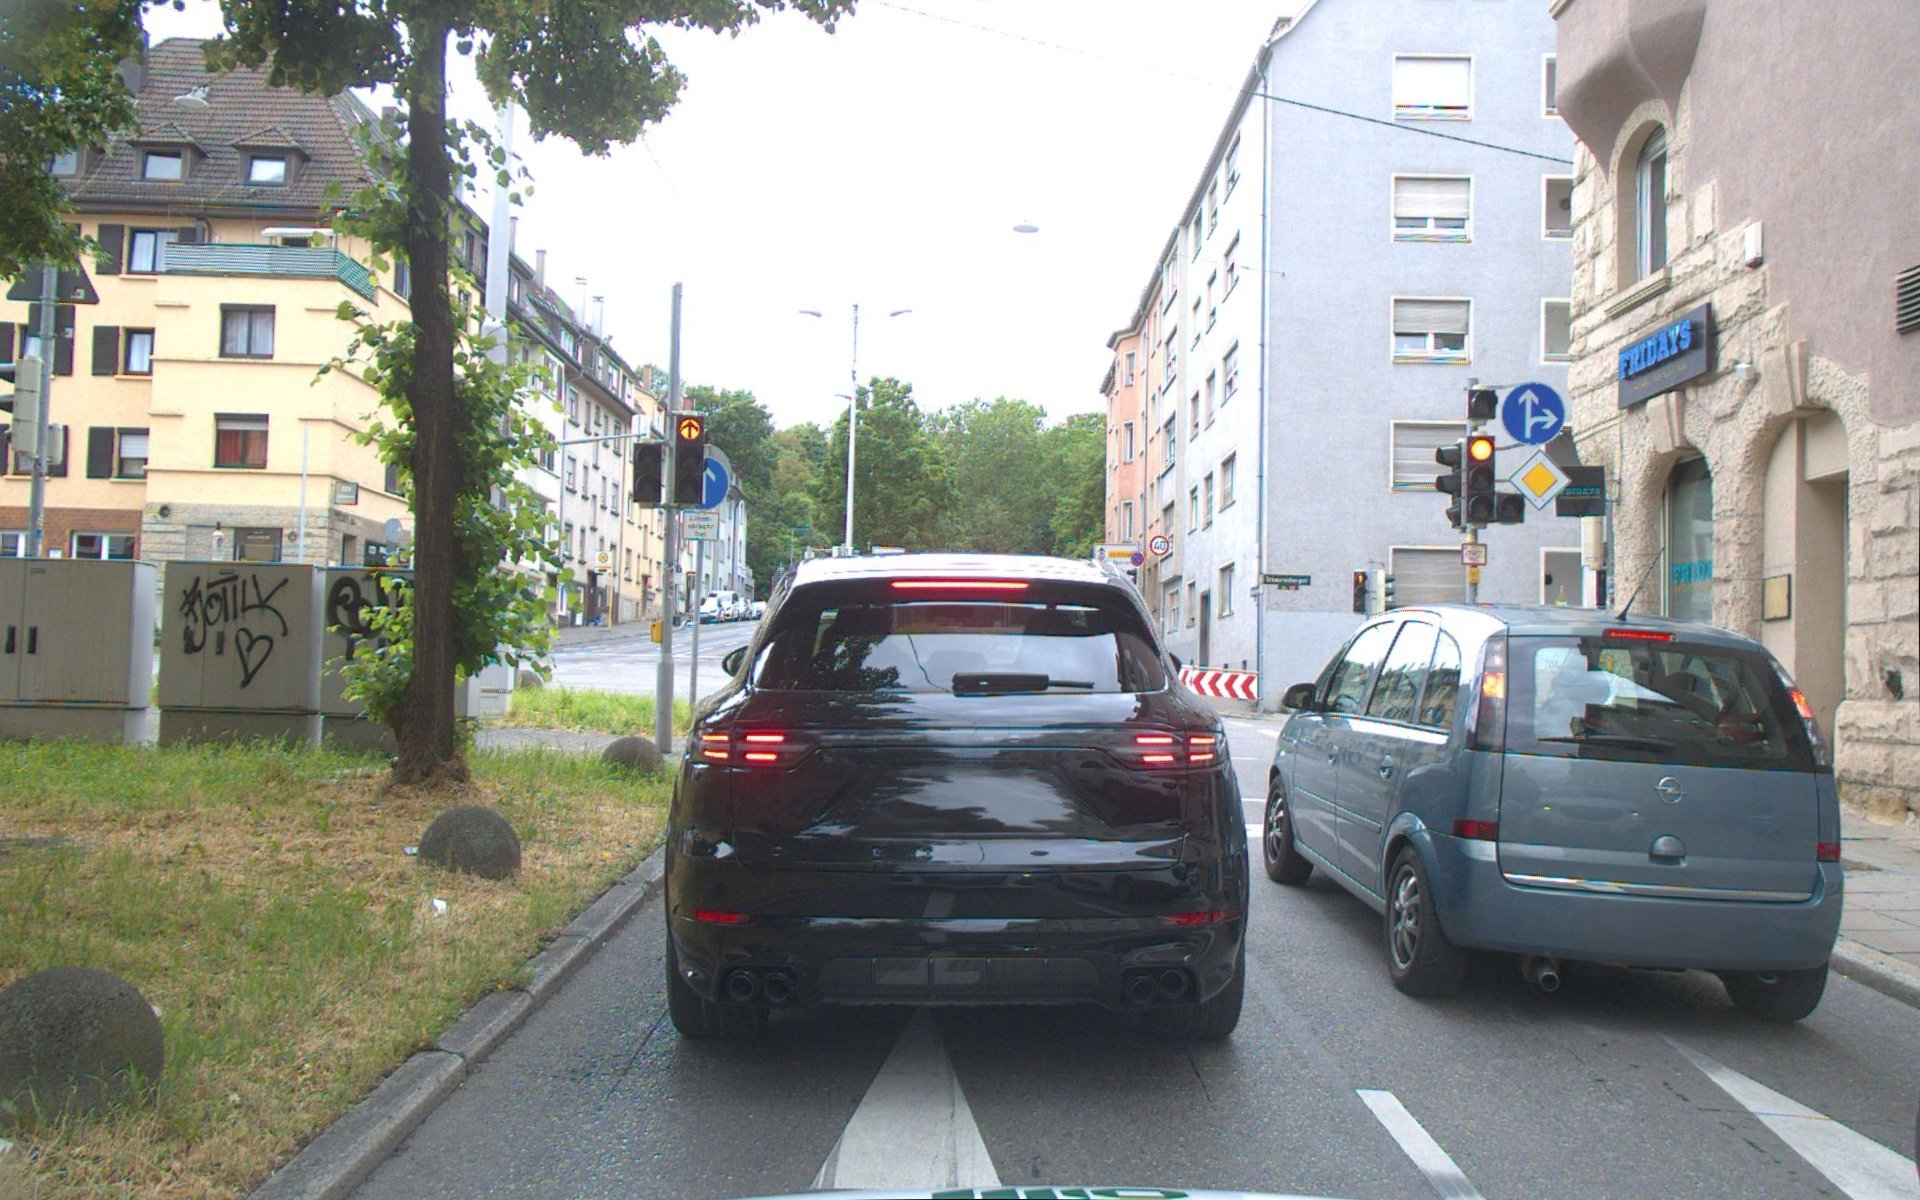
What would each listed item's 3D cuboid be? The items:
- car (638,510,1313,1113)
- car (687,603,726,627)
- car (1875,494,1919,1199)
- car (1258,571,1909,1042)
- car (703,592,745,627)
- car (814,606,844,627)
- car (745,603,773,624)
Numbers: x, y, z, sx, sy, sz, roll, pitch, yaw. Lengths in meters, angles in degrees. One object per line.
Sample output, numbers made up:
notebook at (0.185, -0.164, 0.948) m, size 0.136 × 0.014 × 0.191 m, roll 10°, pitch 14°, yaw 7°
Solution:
car at (0.021, 0.609, 6.704) m, size 1.916 × 1.704 × 3.999 m, roll 0°, pitch 0°, yaw -1°
car at (-15.116, 0.874, 98.697) m, size 1.703 × 1.411 × 3.813 m, roll 1°, pitch 0°, yaw 0°
car at (2.925, 0.653, 1.015) m, size 1.936 × 1.806 × 4.674 m, roll 4°, pitch 0°, yaw -2°
car at (2.627, 0.767, 7.908) m, size 1.596 × 1.625 × 3.668 m, roll 4°, pitch 0°, yaw -1°
car at (-14.848, 0.590, 104.148) m, size 1.975 × 2.081 × 4.666 m, roll 1°, pitch 0°, yaw 0°
car at (-9.453, 1.178, 119.327) m, size 1.824 × 1.412 × 4.094 m, roll 1°, pitch 0°, yaw 0°
car at (-15.163, 1.017, 124.687) m, size 1.655 × 1.565 × 3.813 m, roll 1°, pitch 0°, yaw 0°
